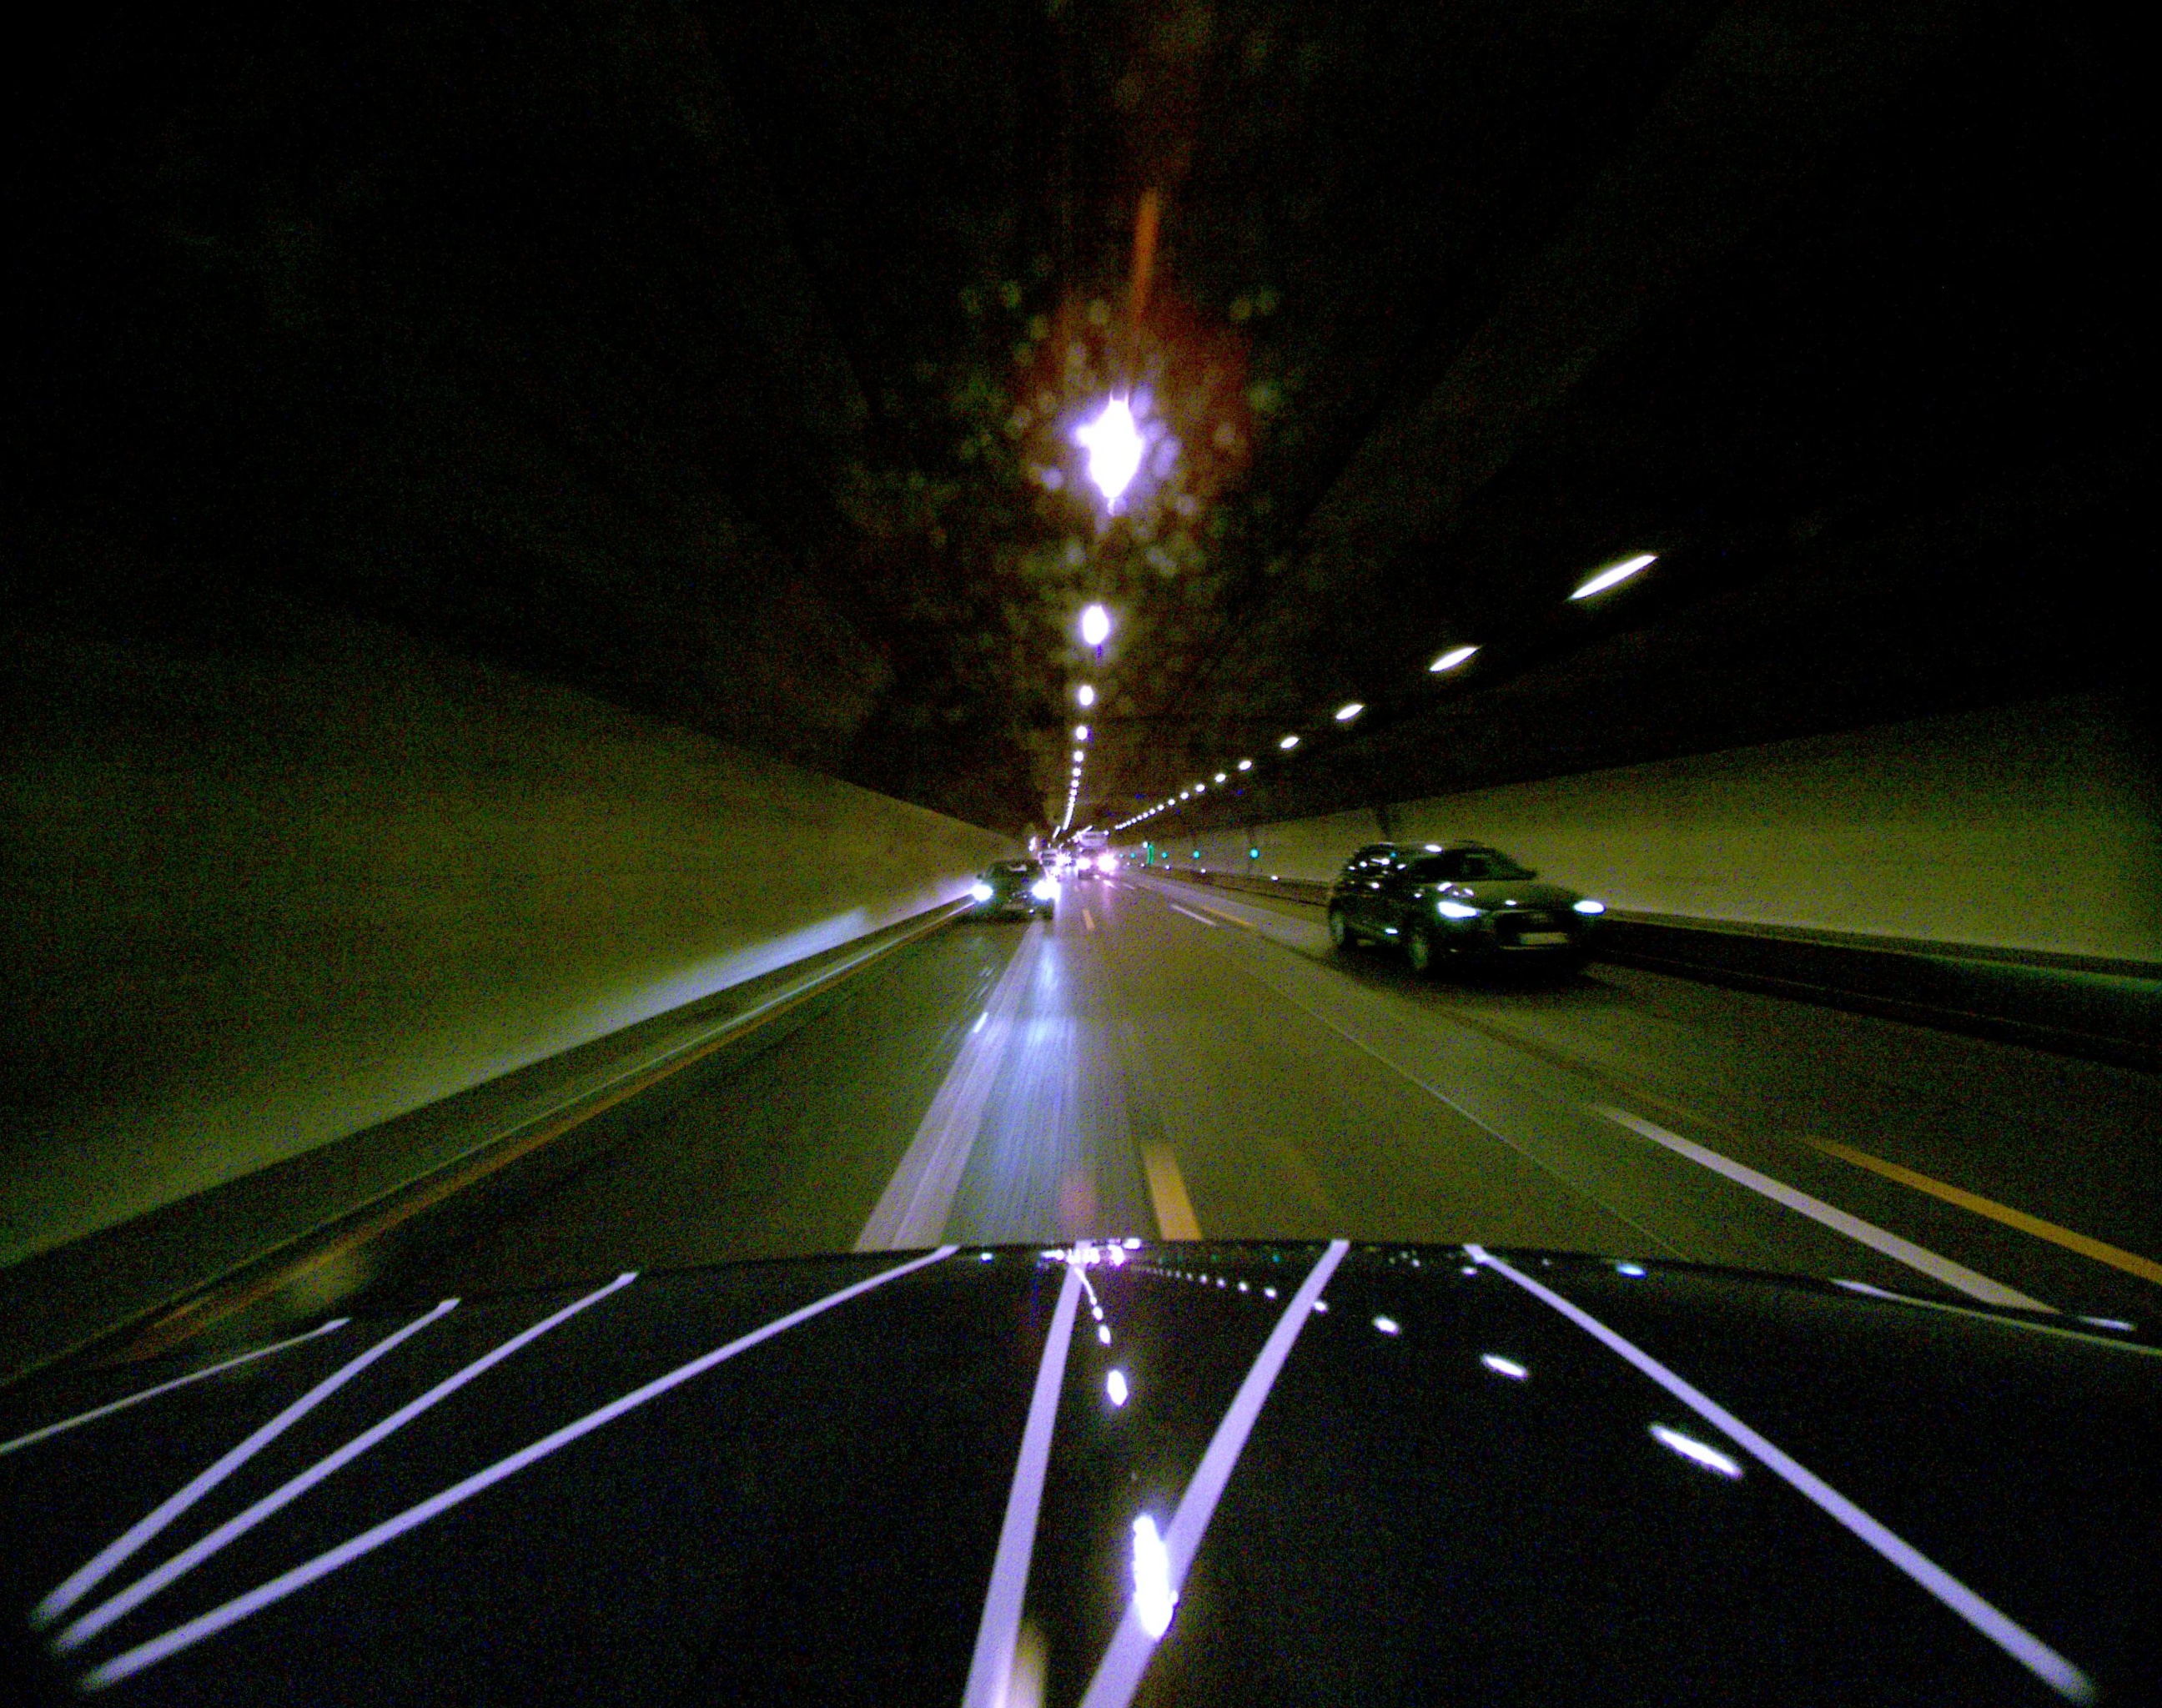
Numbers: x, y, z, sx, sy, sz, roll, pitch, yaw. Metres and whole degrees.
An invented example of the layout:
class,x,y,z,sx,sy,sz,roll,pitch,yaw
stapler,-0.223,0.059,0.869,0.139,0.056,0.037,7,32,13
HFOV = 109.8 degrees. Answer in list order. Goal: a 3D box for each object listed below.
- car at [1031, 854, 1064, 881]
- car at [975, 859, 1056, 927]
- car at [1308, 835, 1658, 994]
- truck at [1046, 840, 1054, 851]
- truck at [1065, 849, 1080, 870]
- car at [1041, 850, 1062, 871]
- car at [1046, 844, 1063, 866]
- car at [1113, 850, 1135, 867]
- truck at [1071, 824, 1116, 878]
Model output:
class,x,y,z,sx,sy,sz,roll,pitch,yaw
car,-2.119,0.836,48.309,1.999,1.531,4.741,-2,1,-2
car,-1.609,0.921,19.855,1.826,1.469,4.520,-2,0,-2
car,4.726,0.580,9.952,1.999,1.531,4.741,-2,1,-1
truck,-10.696,-2.862,262.364,2.208,3.449,11.764,-1,0,0
truck,-1.237,0.770,118.152,2.162,3.098,6.029,-2,1,0
car,-3.017,0.662,76.164,1.999,2.002,4.852,-2,0,-3
car,-3.480,0.055,99.151,1.999,2.710,6.272,-2,1,-2
car,4.265,0.452,76.259,1.998,1.531,4.851,-2,1,1
truck,0.741,-0.212,51.410,2.534,3.314,7.714,-2,0,-2
